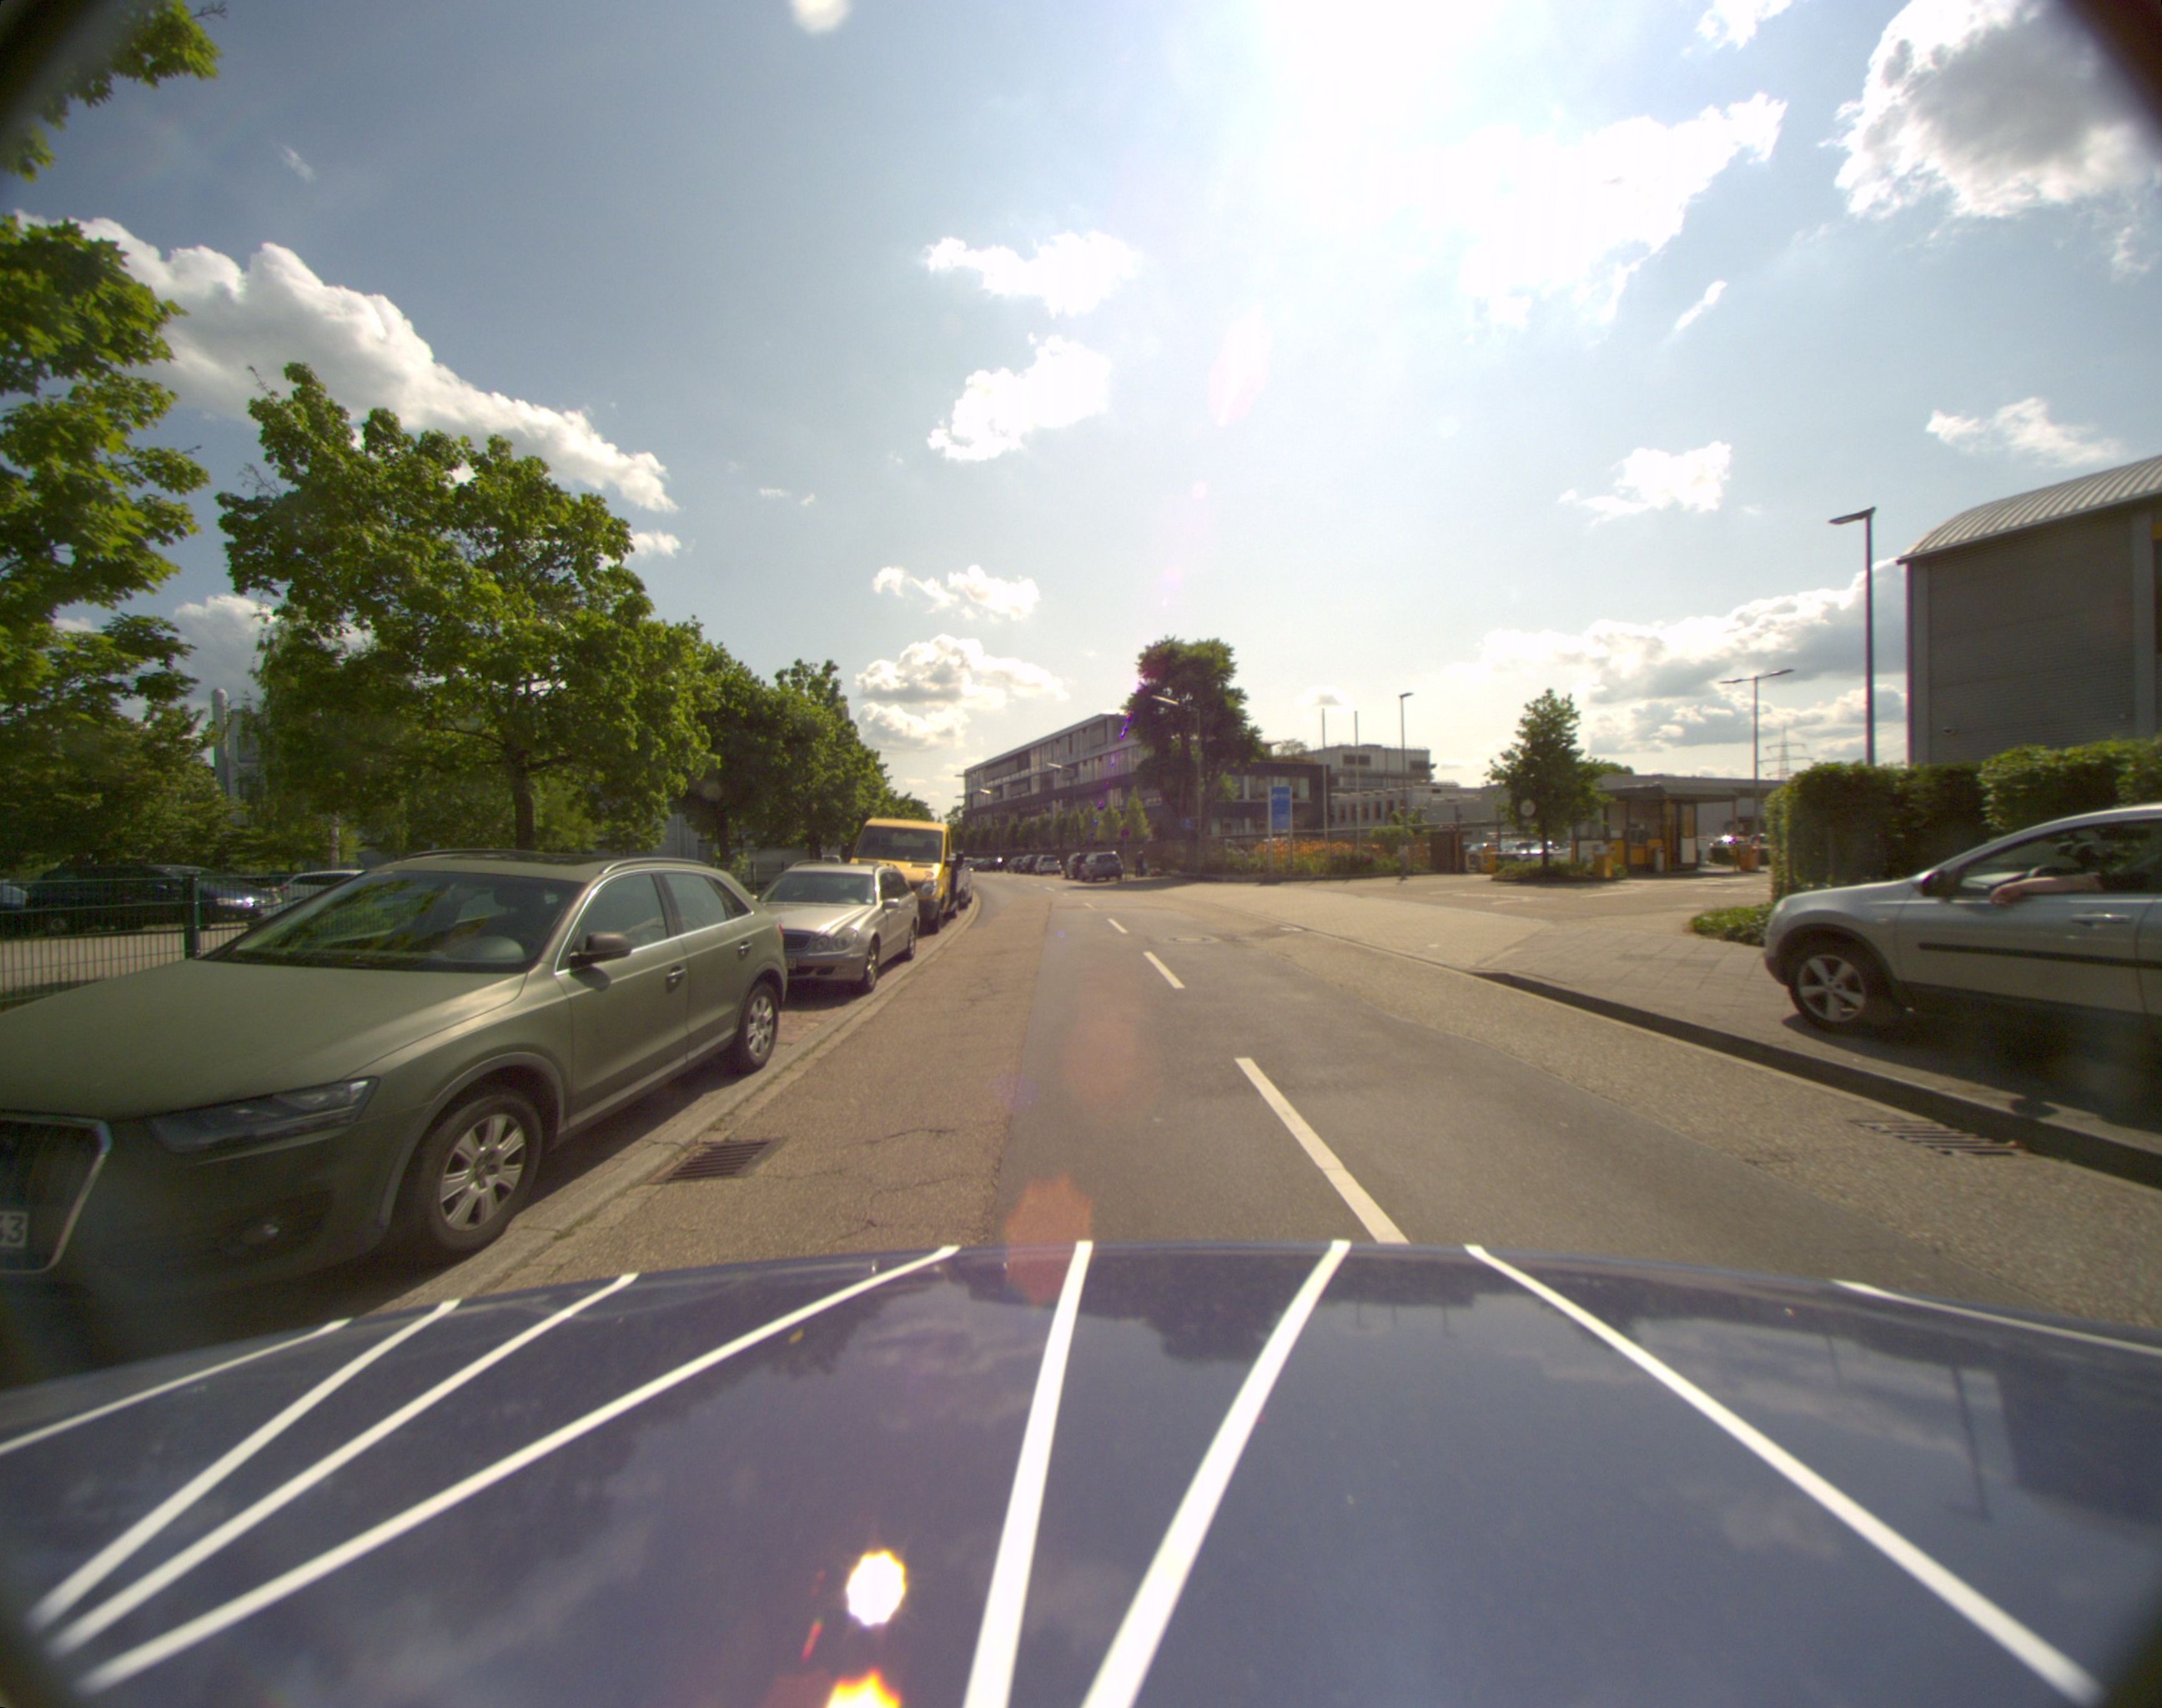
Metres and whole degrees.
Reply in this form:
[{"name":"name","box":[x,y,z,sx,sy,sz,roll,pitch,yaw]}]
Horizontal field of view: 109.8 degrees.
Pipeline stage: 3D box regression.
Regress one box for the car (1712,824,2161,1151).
[{"name":"car","box":[6.135,0.635,4.042,1.762,1.565,4.476,-2,1,-1]}]

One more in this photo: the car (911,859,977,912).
[{"name":"car","box":[-4.236,0.917,23.940,1.690,1.486,3.946,0,1,-5]}]

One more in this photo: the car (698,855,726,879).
[{"name":"car","box":[-28.275,0.991,58.310,1.829,1.638,3.329,-3,1,-25]}]

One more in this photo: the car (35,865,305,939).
[{"name":"car","box":[-22.999,1.167,19.322,4.491,1.631,1.838,-2,0,-1]}]

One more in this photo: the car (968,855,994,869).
[{"name":"car","box":[-11.114,0.852,84.365,1.669,1.389,4.097,-3,1,-23]}]

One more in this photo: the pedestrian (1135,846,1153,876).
[{"name":"pedestrian","box":[3.636,0.410,43.933,0.845,1.682,0.830,-3,1,-6]}]

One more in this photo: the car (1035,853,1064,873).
[{"name":"car","box":[-2.546,0.700,60.426,1.614,1.514,3.070,-2,1,-16]}]

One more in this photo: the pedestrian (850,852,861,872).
[{"name":"pedestrian","box":[-18.392,0.652,62.040,0.730,1.636,0.579,3,-2,-17]}]

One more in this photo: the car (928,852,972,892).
[{"name":"car","box":[-6.174,0.773,35.877,1.856,1.755,5.072,1,0,-10]}]

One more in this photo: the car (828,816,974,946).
[{"name":"car","box":[-3.856,0.473,17.677,2.163,2.450,6.636,0,1,-3]}]

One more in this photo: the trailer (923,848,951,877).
[{"name":"trailer","box":[-11.080,0.634,58.215,1.752,2.055,3.942,1,0,-16]}]

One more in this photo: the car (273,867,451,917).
[{"name":"car","box":[-23.787,1.238,25.255,4.171,1.428,1.729,-2,0,-1]}]

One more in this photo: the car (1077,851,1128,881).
[{"name":"car","box":[1.206,0.664,44.893,1.805,1.641,4.684,-3,1,-13]}]

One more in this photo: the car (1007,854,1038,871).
[{"name":"car","box":[-5.393,0.778,69.798,1.740,1.437,3.924,-3,1,-20]}]

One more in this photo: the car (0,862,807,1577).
[{"name":"car","box":[-3.268,0.915,4.127,1.837,1.599,4.568,2,1,0]}]

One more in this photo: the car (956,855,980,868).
[{"name":"car","box":[-13.279,0.893,89.350,1.669,1.473,3.509,-3,1,-26]}]

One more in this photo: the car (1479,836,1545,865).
[{"name":"car","box":[28.701,-0.222,50.573,4.077,1.716,1.756,-3,1,-25]}]

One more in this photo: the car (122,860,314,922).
[{"name":"car","box":[-30.490,1.255,26.993,4.094,1.924,1.996,-2,1,-10]}]

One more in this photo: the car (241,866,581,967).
[{"name":"car","box":[-11.899,1.049,13.804,4.331,1.612,1.762,0,1,-9]}]

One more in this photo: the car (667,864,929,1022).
[{"name":"car","box":[-3.390,0.945,10.323,1.880,1.468,5.165,1,1,-3]}]

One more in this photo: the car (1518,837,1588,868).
[{"name":"car","box":[30.034,-0.101,48.350,4.077,1.716,1.756,-3,1,-25]}]

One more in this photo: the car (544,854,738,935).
[{"name":"car","box":[-12.740,1.165,22.282,4.341,1.661,1.855,9,-1,-10]}]

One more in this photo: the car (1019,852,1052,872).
[{"name":"car","box":[-3.937,0.667,64.973,1.740,1.646,4.304,-2,1,-18]}]

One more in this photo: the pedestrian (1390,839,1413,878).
[{"name":"pedestrian","box":[14.073,0.187,33.352,0.550,1.683,0.732,-2,4,-26]}]

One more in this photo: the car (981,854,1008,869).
[{"name":"car","box":[-9.060,0.792,79.458,1.669,1.521,3.992,-3,1,-23]}]

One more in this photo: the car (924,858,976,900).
[{"name":"car","box":[-5.094,0.909,29.559,1.839,1.484,4.651,0,0,-10]}]

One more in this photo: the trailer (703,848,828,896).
[{"name":"trailer","box":[-14.746,0.800,35.792,5.065,2.070,2.059,-1,1,-12]}]

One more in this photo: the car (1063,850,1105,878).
[{"name":"car","box":[0.171,0.609,50.291,1.782,1.673,4.225,-3,1,-13]}]

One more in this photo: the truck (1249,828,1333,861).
[{"name":"truck","box":[18.090,-0.788,65.278,6.942,2.642,2.400,-2,0,-24]}]

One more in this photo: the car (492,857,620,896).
[{"name":"car","box":[-26.097,1.104,37.950,4.867,1.757,1.913,-1,1,-11]}]

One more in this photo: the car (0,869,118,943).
[{"name":"car","box":[-30.565,1.477,21.289,4.094,1.924,1.996,-2,1,-10]}]

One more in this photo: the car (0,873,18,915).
[{"name":"car","box":[-48.035,1.833,31.717,3.999,1.760,1.998,-3,1,-7]}]

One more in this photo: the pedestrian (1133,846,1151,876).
[{"name":"pedestrian","box":[3.622,0.396,45.065,0.831,1.751,0.845,-3,1,-6]}]
